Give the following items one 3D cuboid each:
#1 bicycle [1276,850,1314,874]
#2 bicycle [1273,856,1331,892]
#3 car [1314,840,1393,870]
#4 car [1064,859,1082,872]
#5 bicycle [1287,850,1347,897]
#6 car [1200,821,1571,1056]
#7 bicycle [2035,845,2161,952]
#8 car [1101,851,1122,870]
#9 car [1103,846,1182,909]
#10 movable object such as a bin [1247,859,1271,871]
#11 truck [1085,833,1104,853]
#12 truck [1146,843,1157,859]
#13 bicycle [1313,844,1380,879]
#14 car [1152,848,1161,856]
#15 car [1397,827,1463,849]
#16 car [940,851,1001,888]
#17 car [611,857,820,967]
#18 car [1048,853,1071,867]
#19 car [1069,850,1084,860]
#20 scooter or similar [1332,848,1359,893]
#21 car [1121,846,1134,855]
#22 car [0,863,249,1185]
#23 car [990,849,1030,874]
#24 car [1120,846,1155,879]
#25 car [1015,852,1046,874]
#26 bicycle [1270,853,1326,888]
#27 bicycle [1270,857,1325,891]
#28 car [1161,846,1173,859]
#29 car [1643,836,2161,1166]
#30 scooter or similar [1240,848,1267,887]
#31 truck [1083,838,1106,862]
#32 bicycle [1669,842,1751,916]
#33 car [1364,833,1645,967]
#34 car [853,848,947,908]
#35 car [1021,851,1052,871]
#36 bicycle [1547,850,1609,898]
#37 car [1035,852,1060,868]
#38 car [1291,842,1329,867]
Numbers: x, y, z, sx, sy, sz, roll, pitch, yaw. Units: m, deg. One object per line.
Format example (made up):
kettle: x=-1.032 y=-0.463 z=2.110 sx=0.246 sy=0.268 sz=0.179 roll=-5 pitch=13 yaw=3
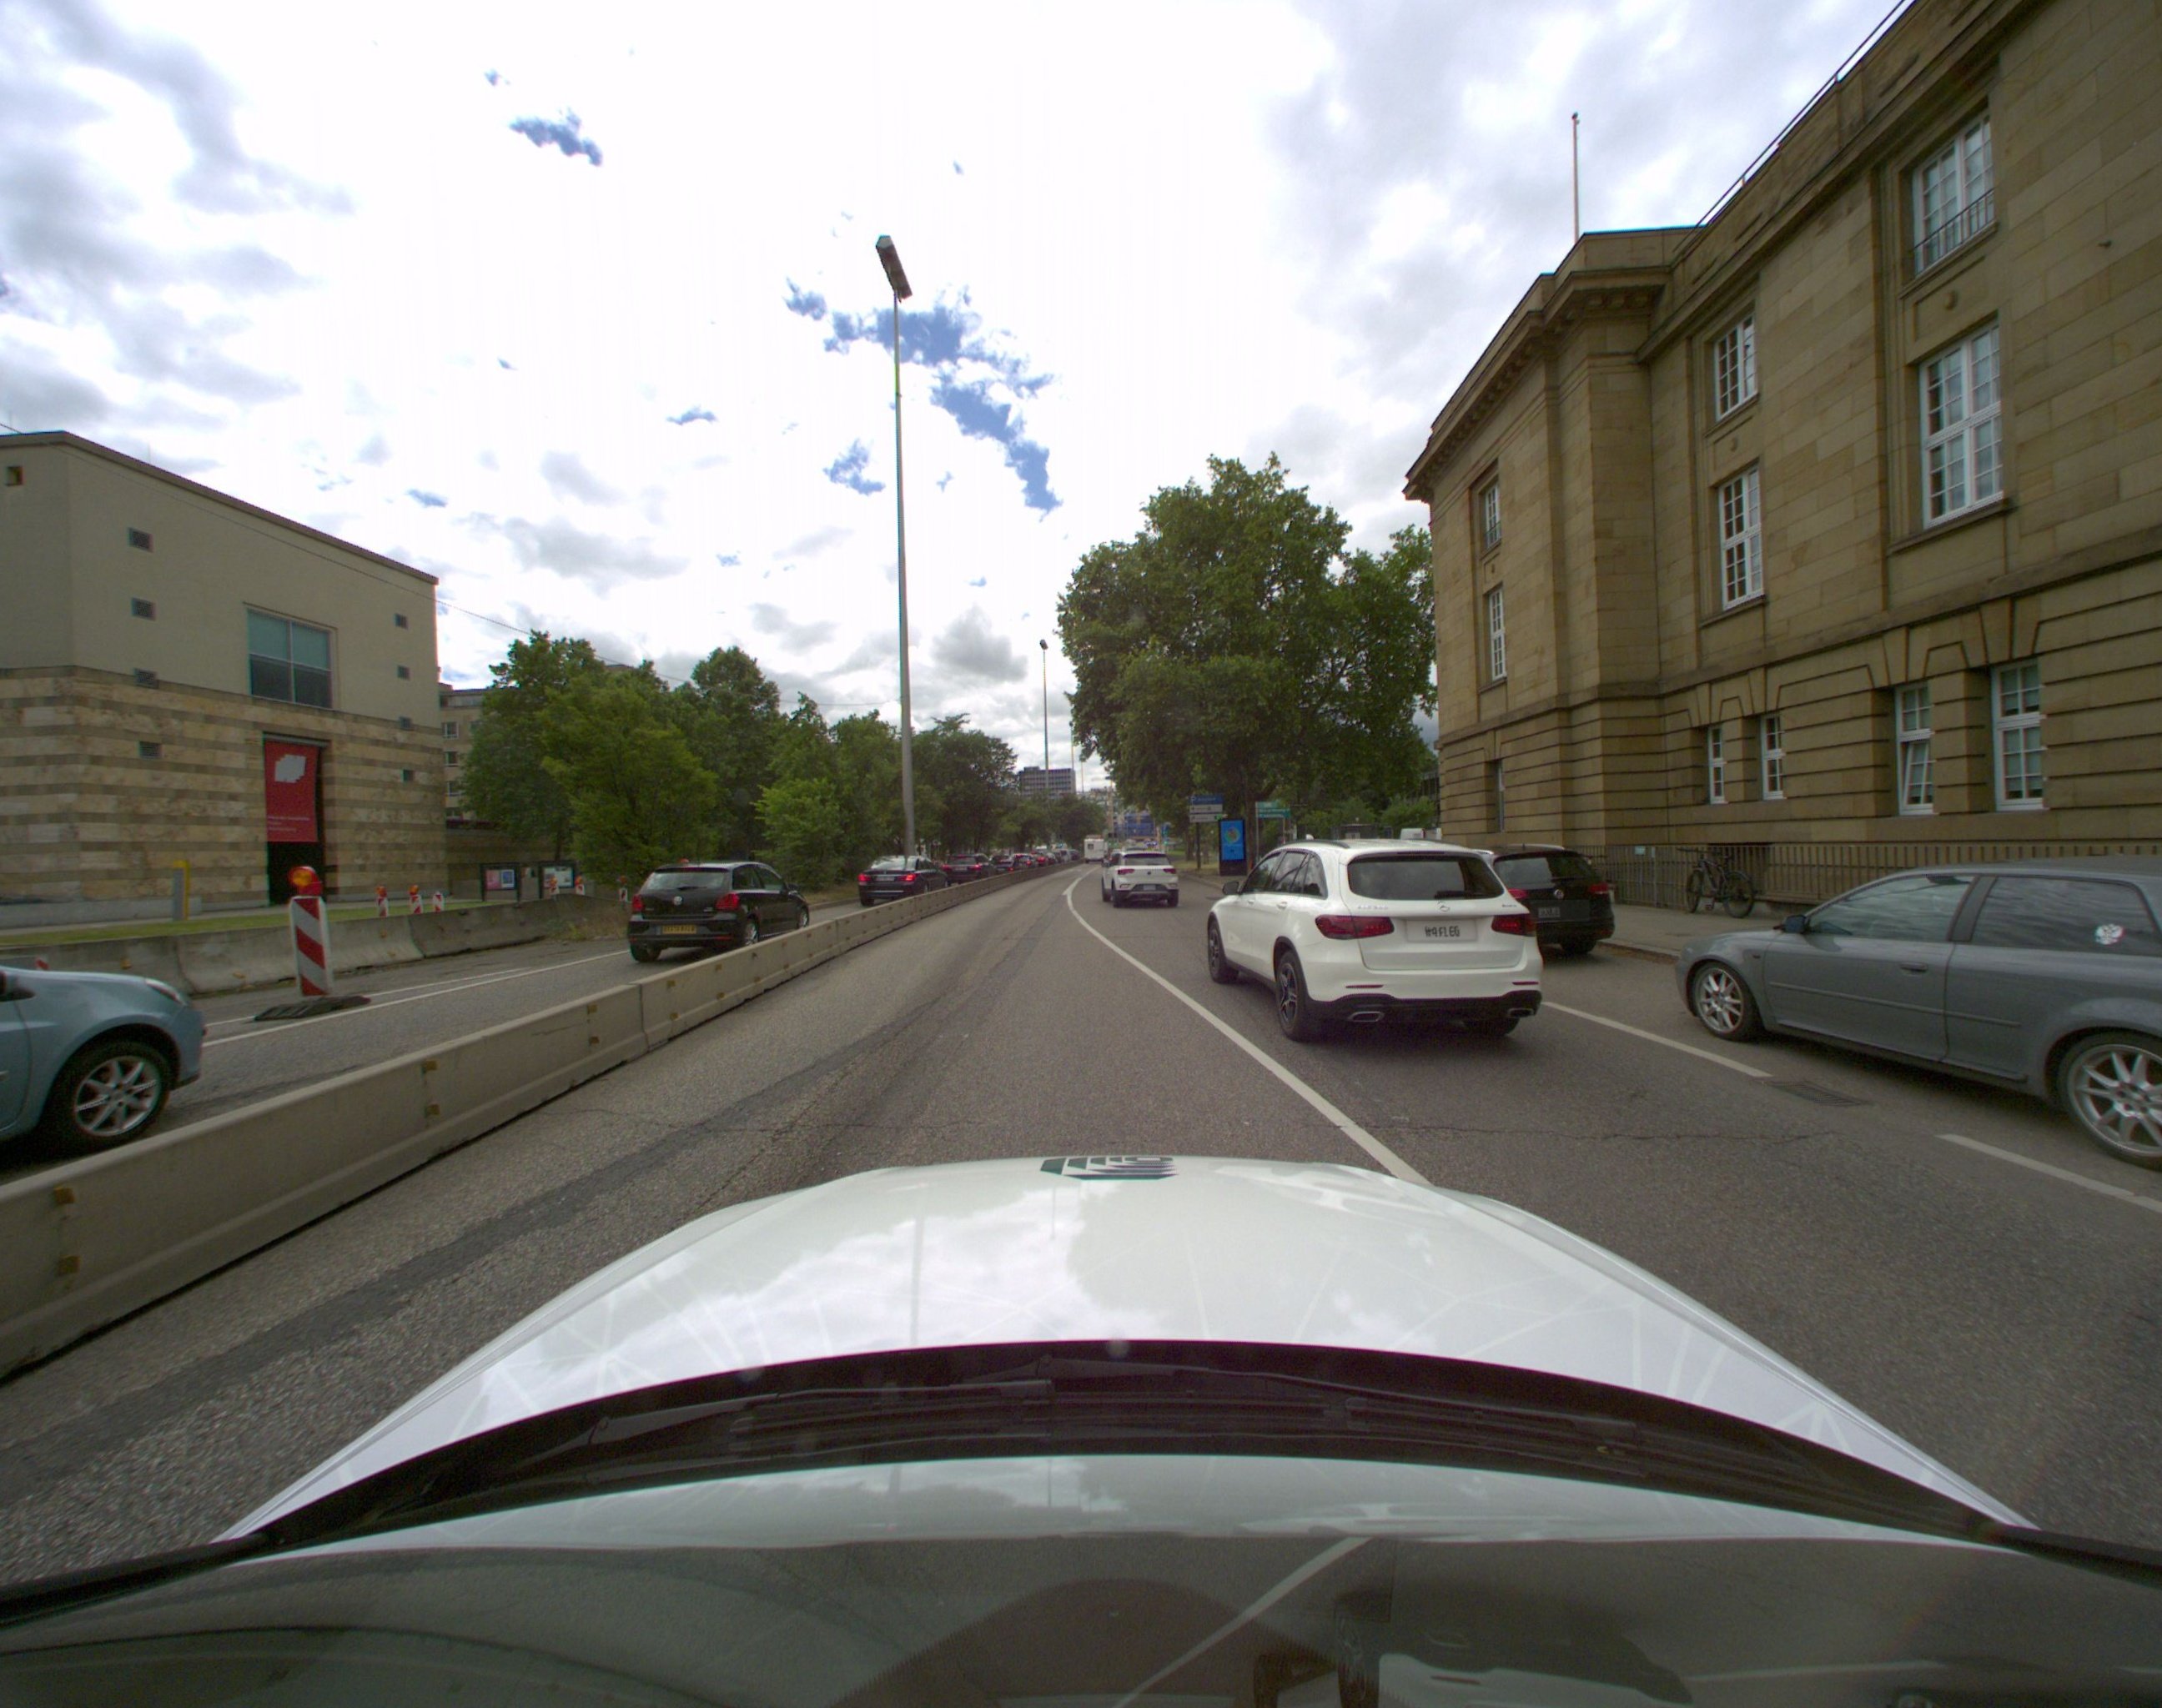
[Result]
bicycle: x=11.024 y=0.415 z=41.995 sx=1.776 sy=1.221 sz=0.493 roll=-1 pitch=0 yaw=5
bicycle: x=6.885 y=0.616 z=25.397 sx=1.717 sy=1.091 sz=0.576 roll=0 pitch=0 yaw=11
car: x=15.024 y=0.043 z=45.091 sx=3.820 sy=1.568 sz=1.680 roll=-1 pitch=0 yaw=3
car: x=-0.882 y=1.249 z=89.916 sx=1.651 sy=1.319 sz=3.551 roll=-1 pitch=0 yaw=4
bicycle: x=6.487 y=0.517 z=22.423 sx=1.529 sy=1.257 sz=0.546 roll=0 pitch=0 yaw=21
car: x=2.497 y=0.598 z=7.986 sx=1.784 sy=1.625 sz=4.432 roll=-1 pitch=0 yaw=-3
bicycle: x=10.498 y=0.422 z=7.963 sx=0.221 sy=1.029 sz=1.860 roll=0 pitch=0 yaw=2
car: x=2.446 y=0.510 z=64.701 sx=1.652 sy=1.413 sz=3.550 roll=-1 pitch=0 yaw=3
car: x=1.659 y=0.621 z=23.297 sx=1.792 sy=1.608 sz=3.751 roll=-1 pitch=0 yaw=-3
movable object such as a bin: x=9.778 y=0.614 z=44.807 sx=1.290 sy=0.652 sz=0.731 roll=0 pitch=-1 yaw=11
truck: x=2.156 y=-1.688 z=127.763 sx=2.681 sy=2.992 sz=5.641 roll=0 pitch=0 yaw=2
truck: x=18.003 y=-0.823 z=208.282 sx=2.864 sy=4.103 sz=6.646 roll=0 pitch=0 yaw=4
bicycle: x=7.371 y=0.221 z=22.627 sx=1.713 sy=0.917 sz=0.617 roll=-2 pitch=0 yaw=21
car: x=16.527 y=-0.409 z=177.843 sx=1.751 sy=1.669 sz=4.172 roll=-2 pitch=0 yaw=3
car: x=38.058 y=-1.750 z=88.941 sx=6.079 sy=2.260 sz=2.405 roll=-1 pitch=0 yaw=4
car: x=-4.903 y=0.658 z=36.703 sx=1.809 sy=1.499 sz=4.772 roll=-2 pitch=0 yaw=3
car: x=-5.628 y=0.796 z=13.155 sx=1.655 sy=1.454 sz=4.193 roll=-1 pitch=0 yaw=-3
car: x=-2.013 y=0.563 z=77.307 sx=1.651 sy=1.319 sz=3.553 roll=-1 pitch=0 yaw=6
car: x=-0.595 y=0.150 z=108.554 sx=1.651 sy=1.319 sz=3.551 roll=-1 pitch=0 yaw=4
scooter or similar: x=7.683 y=0.462 z=23.721 sx=0.559 sy=1.278 sz=1.151 roll=0 pitch=0 yaw=9
car: x=7.212 y=-0.504 z=125.228 sx=1.938 sy=1.319 sz=4.021 roll=-1 pitch=0 yaw=4
car: x=-5.867 y=0.811 z=3.076 sx=1.669 sy=1.507 sz=3.847 roll=-1 pitch=0 yaw=-5
car: x=-4.143 y=0.414 z=48.191 sx=1.671 sy=1.367 sz=4.546 roll=-2 pitch=0 yaw=3
car: x=2.942 y=0.424 z=42.895 sx=1.653 sy=1.639 sz=3.547 roll=-1 pitch=0 yaw=0
car: x=-3.373 y=0.591 z=54.742 sx=1.654 sy=1.436 sz=3.963 roll=-1 pitch=0 yaw=3
bicycle: x=6.866 y=0.512 z=25.798 sx=1.715 sy=1.091 sz=0.382 roll=0 pitch=0 yaw=15
bicycle: x=7.017 y=0.643 z=26.381 sx=1.715 sy=1.091 sz=0.427 roll=0 pitch=0 yaw=15
car: x=14.589 y=-0.263 z=138.103 sx=1.984 sy=2.013 sz=4.005 roll=-1 pitch=0 yaw=4
car: x=5.686 y=0.643 z=5.026 sx=1.702 sy=1.426 sz=3.998 roll=-3 pitch=0 yaw=1
scooter or similar: x=6.176 y=0.477 z=29.214 sx=0.723 sy=1.331 sz=1.414 roll=0 pitch=0 yaw=2
truck: x=1.658 y=-0.487 z=99.960 sx=2.610 sy=2.861 sz=7.083 roll=0 pitch=0 yaw=2
bicycle: x=10.704 y=0.400 z=13.918 sx=0.274 sy=1.183 sz=1.540 roll=-3 pitch=-1 yaw=5
car: x=5.778 y=0.539 z=11.818 sx=1.782 sy=1.486 sz=4.325 roll=-3 pitch=0 yaw=0
car: x=-5.418 y=0.681 z=25.026 sx=1.919 sy=1.636 sz=4.932 roll=-1 pitch=0 yaw=-2
car: x=-3.378 y=0.507 z=62.548 sx=1.767 sy=1.420 sz=4.006 roll=-2 pitch=0 yaw=5
bicycle: x=10.985 y=0.432 z=18.062 sx=0.239 sy=0.997 sz=1.964 roll=-2 pitch=0 yaw=2
car: x=-2.907 y=0.512 z=70.580 sx=1.651 sy=1.319 sz=3.553 roll=-1 pitch=0 yaw=6
car: x=16.083 y=-0.009 z=57.430 sx=1.752 sy=1.551 sz=4.032 roll=-2 pitch=2 yaw=4
